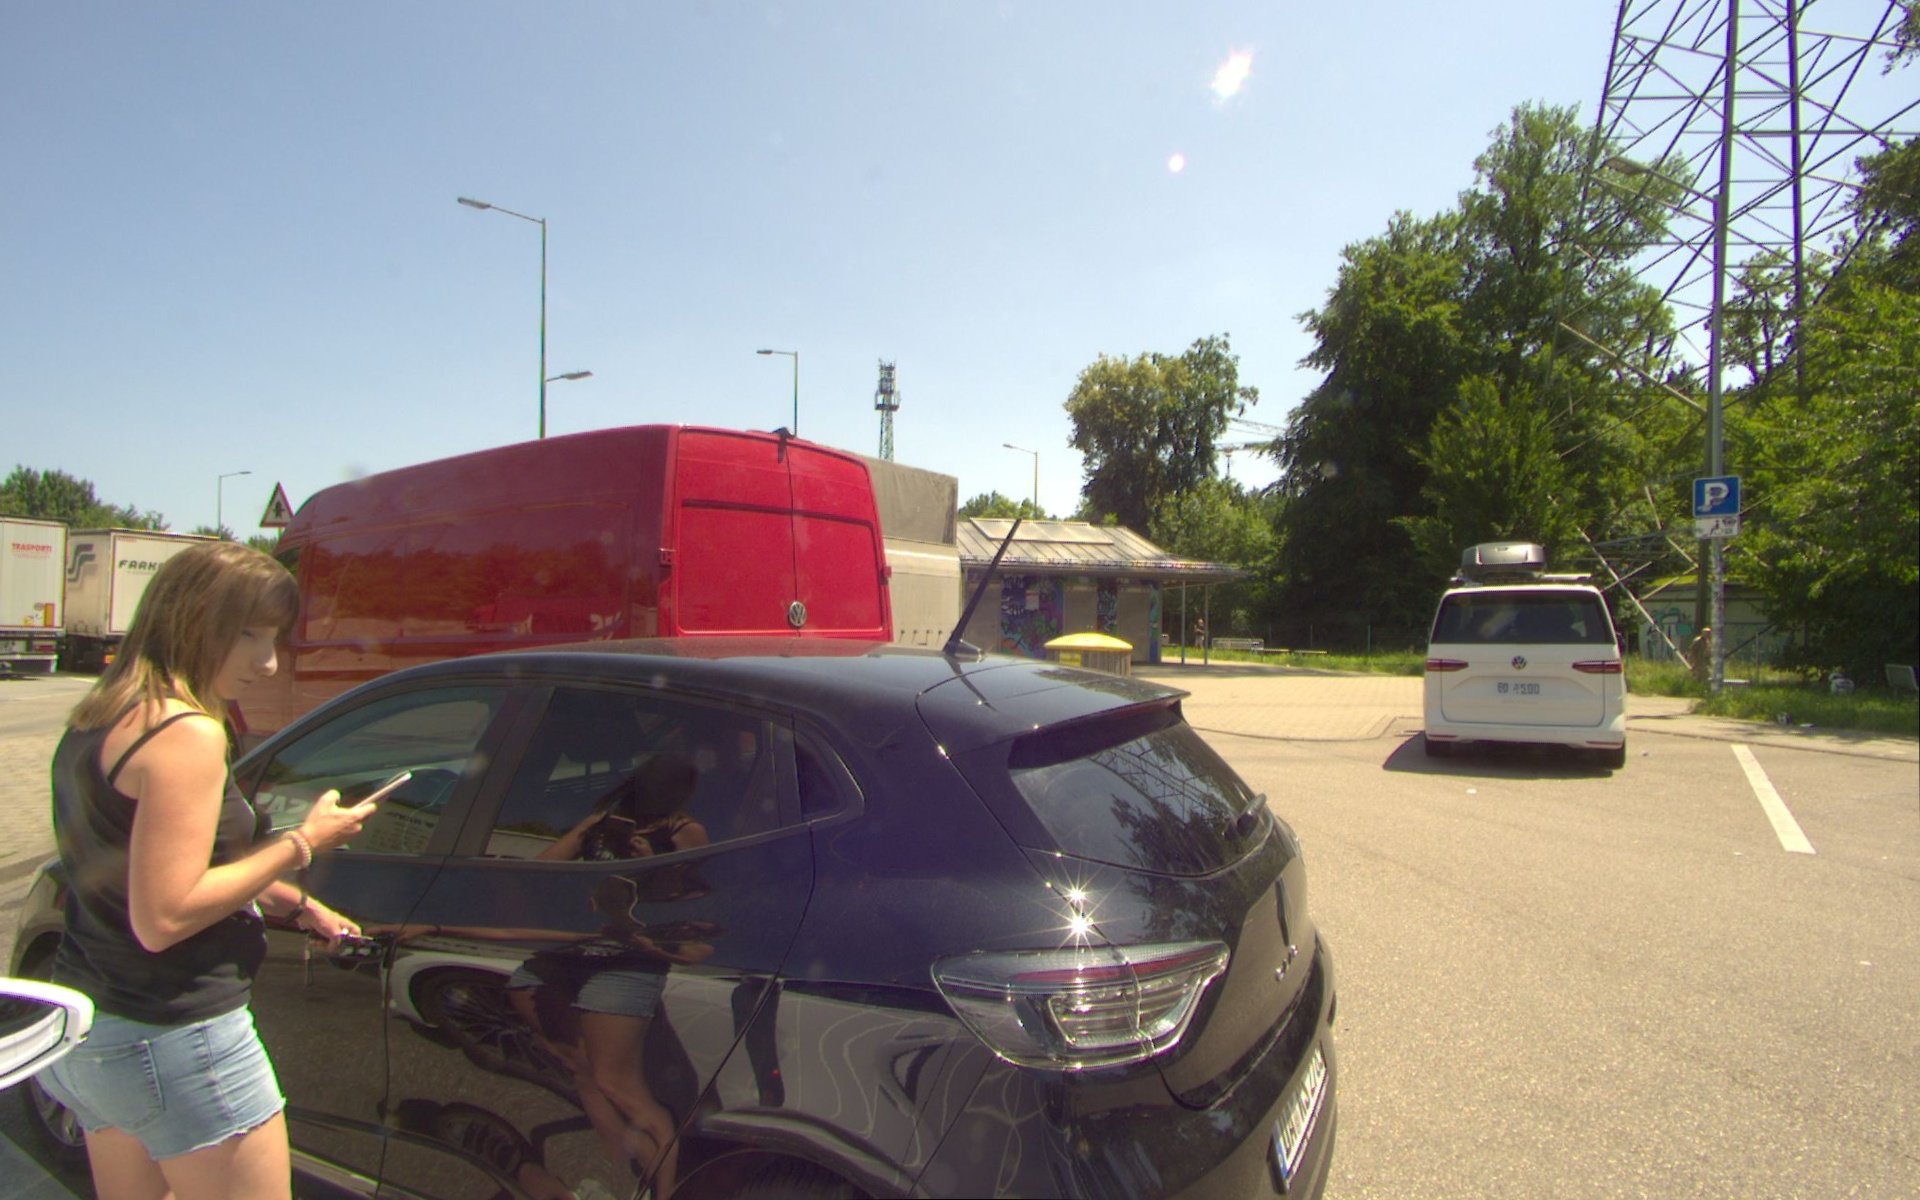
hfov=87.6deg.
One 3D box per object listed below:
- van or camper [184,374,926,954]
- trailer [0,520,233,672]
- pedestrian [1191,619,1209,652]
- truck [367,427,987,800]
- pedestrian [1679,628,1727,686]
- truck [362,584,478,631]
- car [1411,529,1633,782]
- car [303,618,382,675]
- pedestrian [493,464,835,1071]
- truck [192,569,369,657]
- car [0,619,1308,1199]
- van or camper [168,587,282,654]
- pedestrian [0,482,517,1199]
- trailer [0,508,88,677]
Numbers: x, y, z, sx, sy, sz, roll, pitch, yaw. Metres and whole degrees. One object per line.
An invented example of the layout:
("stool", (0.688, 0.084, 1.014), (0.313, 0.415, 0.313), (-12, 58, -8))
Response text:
("van or camper", (-3.377, 0.324, 7.353), (6.394, 2.688, 1.990), (0, -1, 36))
("trailer", (-27.308, -0.199, 31.462), (12.255, 4.090, 2.862), (2, -1, 33))
("pedestrian", (11.062, 1.627, 46.209), (0.578, 1.536, 0.592), (1, 0, -17))
("truck", (-3.272, 0.132, 10.560), (6.874, 2.828, 2.460), (0, -1, 35))
("pedestrian", (18.212, 1.379, 24.557), (0.695, 1.392, 0.607), (1, 0, -3))
("truck", (-34.740, 0.467, 64.275), (9.637, 2.857, 2.121), (0, -1, 33))
("car", (6.528, 0.567, 11.561), (1.892, 2.354, 4.074), (-1, -1, 32))
("car", (-18.342, 1.337, 29.879), (1.821, 1.582, 3.929), (1, -1, -30))
("pedestrian", (-1.063, 0.531, 3.679), (0.902, 1.896, 0.771), (1, 0, 27))
("truck", (-31.708, 0.507, 46.473), (11.255, 3.615, 2.484), (2, -1, 33))
("car", (-1.070, 0.834, 2.846), (3.706, 1.503, 1.615), (0, -1, 27))
("van or camper", (-30.427, 0.821, 41.383), (5.296, 2.595, 2.100), (0, -1, 34))
("pedestrian", (-1.256, 0.662, 1.696), (0.644, 1.606, 0.646), (1, 0, 28))
("trailer", (-28.368, -0.328, 27.797), (12.255, 4.090, 2.862), (2, -1, 33))
